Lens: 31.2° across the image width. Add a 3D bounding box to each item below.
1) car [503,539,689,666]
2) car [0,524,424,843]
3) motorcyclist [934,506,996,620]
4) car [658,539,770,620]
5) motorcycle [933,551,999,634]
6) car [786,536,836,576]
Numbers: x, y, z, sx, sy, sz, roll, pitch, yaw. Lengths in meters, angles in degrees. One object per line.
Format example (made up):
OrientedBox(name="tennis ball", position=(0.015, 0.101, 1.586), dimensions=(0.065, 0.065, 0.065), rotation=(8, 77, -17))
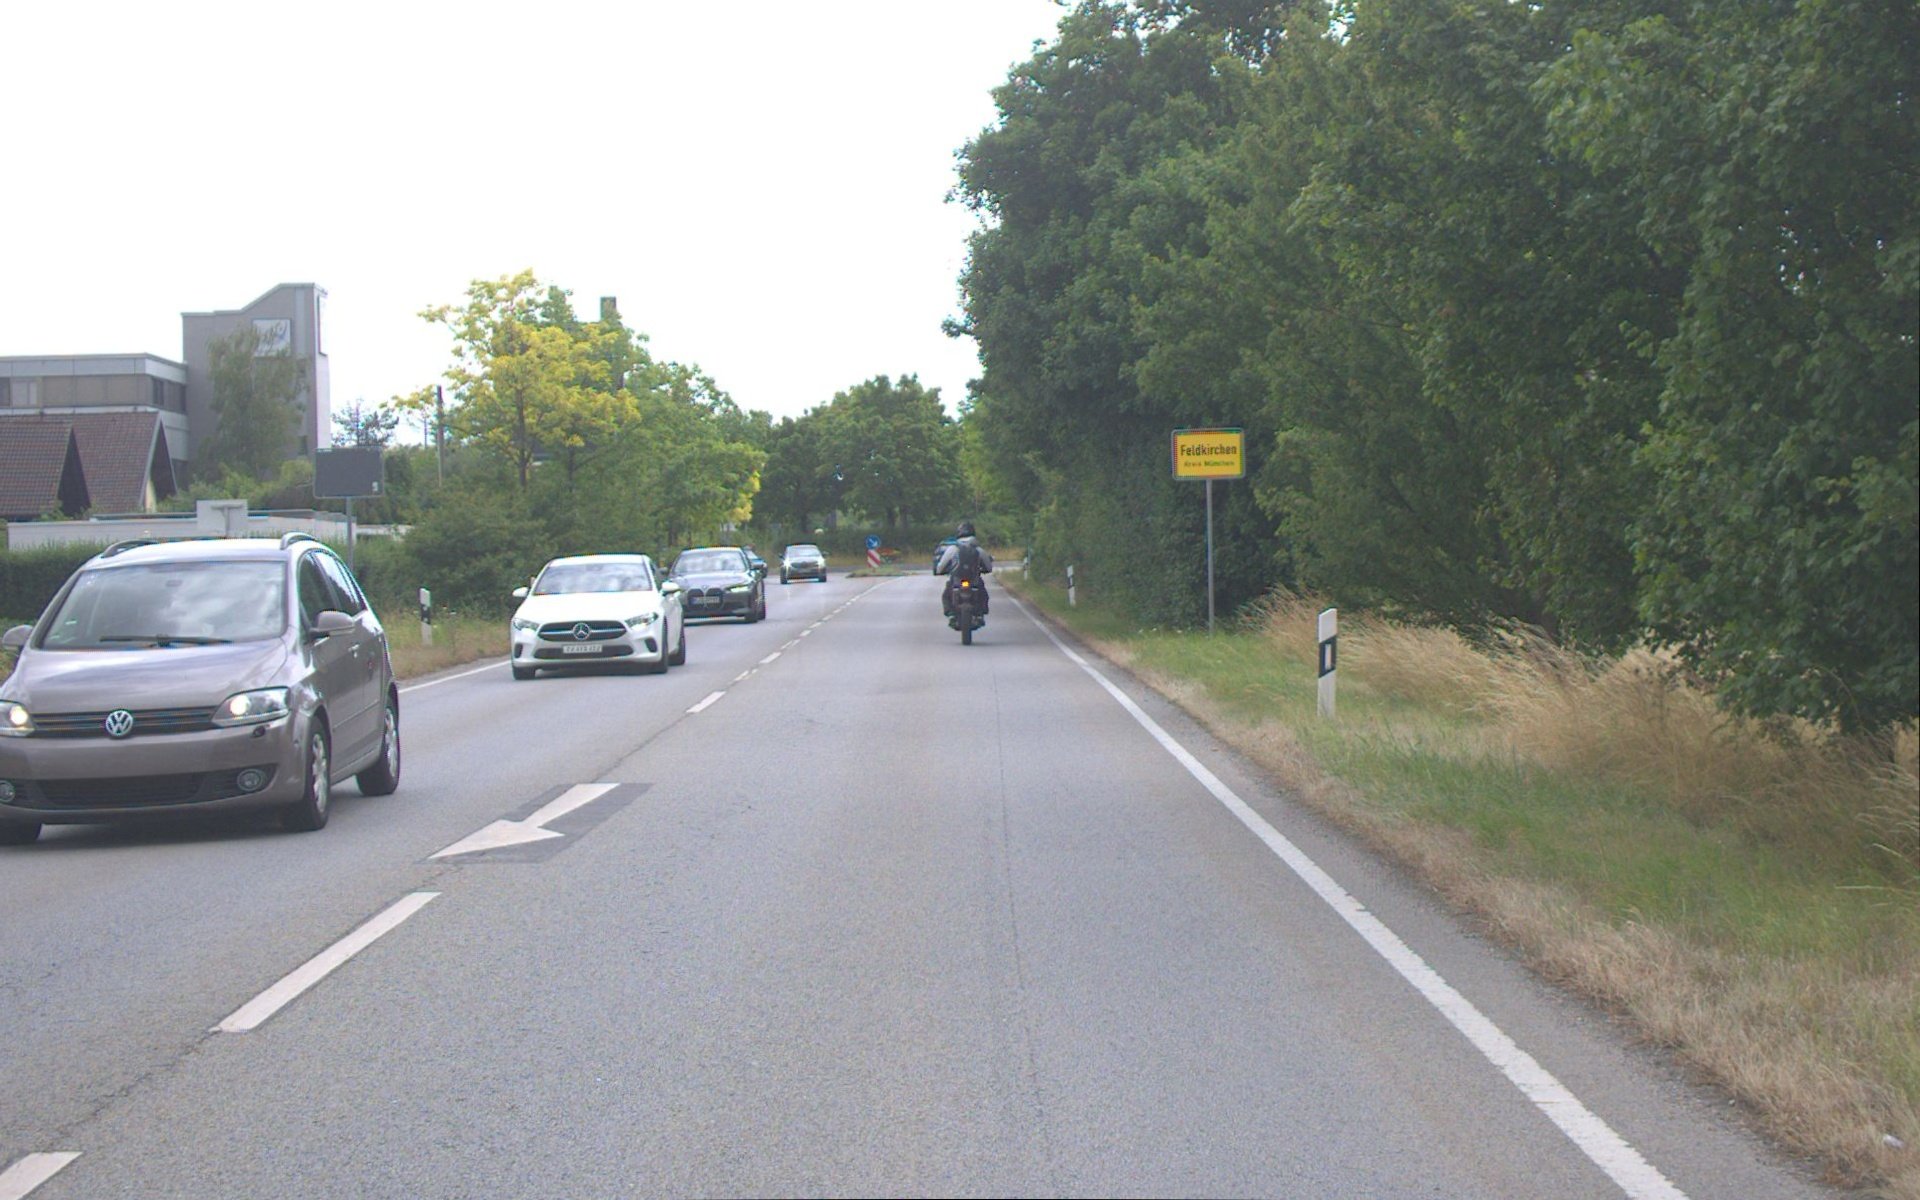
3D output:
OrientedBox(name="car", position=(-4.333, -0.003, 41.426), dimensions=(1.773, 1.368, 4.100), rotation=(-3, 1, -1))
OrientedBox(name="car", position=(-4.226, 0.388, 19.409), dimensions=(1.704, 1.534, 4.302), rotation=(-3, 1, -1))
OrientedBox(name="motorcyclist", position=(0.066, -0.540, 50.047), dimensions=(0.861, 1.618, 1.191), rotation=(-1, 1, -1))
OrientedBox(name="car", position=(-4.722, -0.421, 66.439), dimensions=(1.852, 1.459, 4.371), rotation=(-2, 1, -1))
OrientedBox(name="motorcycle", position=(0.077, -0.123, 50.041), dimensions=(0.896, 1.154, 2.620), rotation=(-1, 1, -1))
OrientedBox(name="car", position=(-5.973, -1.777, 138.295), dimensions=(1.815, 1.489, 4.204), rotation=(-3, 1, -1))
